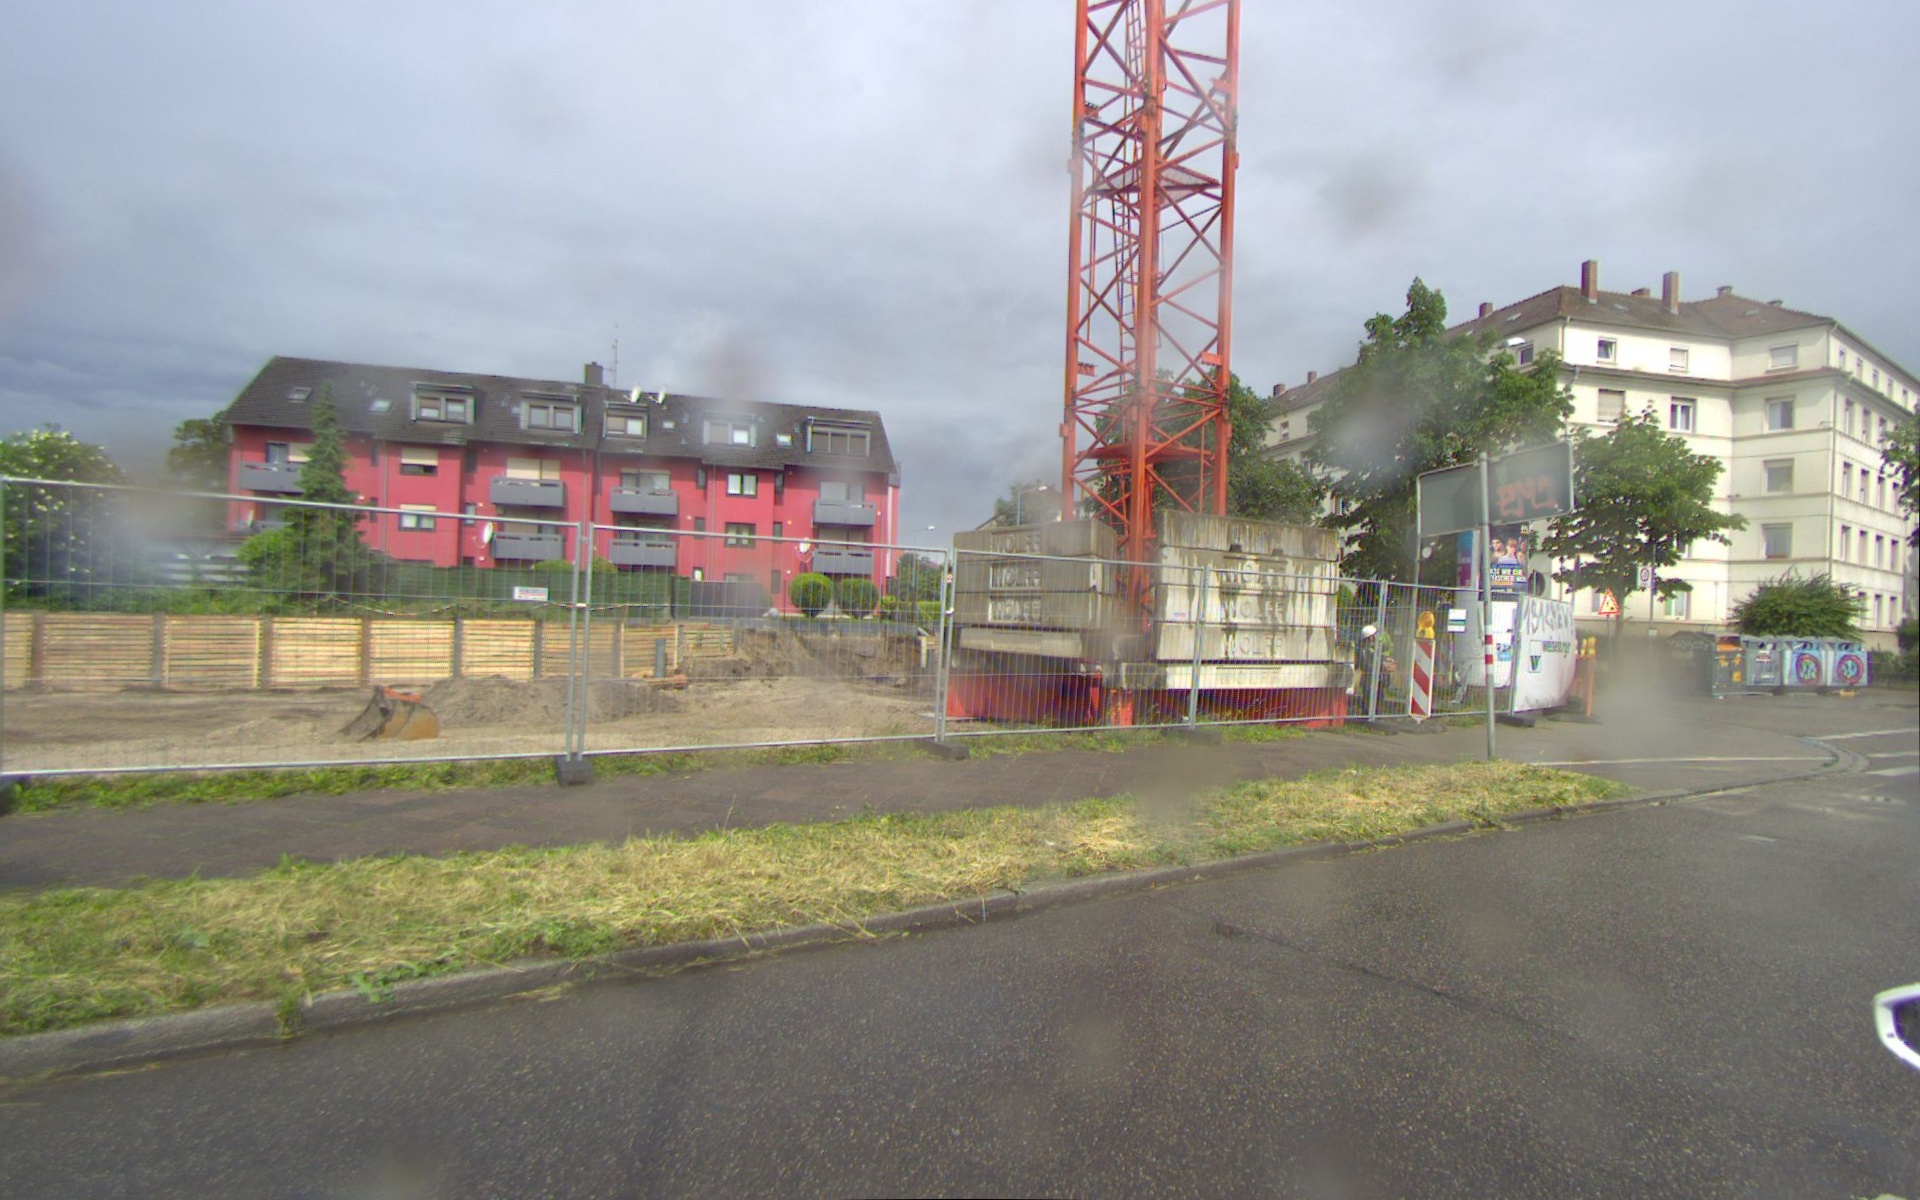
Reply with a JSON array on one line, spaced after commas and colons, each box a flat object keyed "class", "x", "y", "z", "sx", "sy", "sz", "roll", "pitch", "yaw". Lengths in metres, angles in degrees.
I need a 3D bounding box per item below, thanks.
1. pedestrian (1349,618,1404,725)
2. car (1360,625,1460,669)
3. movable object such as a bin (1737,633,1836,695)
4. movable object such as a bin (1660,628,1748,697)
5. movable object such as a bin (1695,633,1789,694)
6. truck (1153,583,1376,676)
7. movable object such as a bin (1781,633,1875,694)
[{"class": "pedestrian", "x": 6.782, "y": 1.139, "z": 16.375, "sx": 0.709, "sy": 1.651, "sz": 0.684, "roll": 4, "pitch": 1, "yaw": 21}, {"class": "car", "x": 17.472, "y": 1.802, "z": 39.145, "sx": 1.639, "sy": 1.606, "sz": 3.494, "roll": 2, "pitch": -2, "yaw": -19}, {"class": "movable object such as a bin", "x": 23.862, "y": 1.830, "z": 29.039, "sx": 1.637, "sy": 1.696, "sz": 1.539, "roll": 1, "pitch": -1, "yaw": -13}, {"class": "movable object such as a bin", "x": 20.820, "y": 1.737, "z": 28.146, "sx": 1.241, "sy": 1.848, "sz": 1.539, "roll": 1, "pitch": -1, "yaw": -13}, {"class": "movable object such as a bin", "x": 22.285, "y": 1.795, "z": 28.665, "sx": 1.501, "sy": 1.678, "sz": 1.539, "roll": 1, "pitch": -1, "yaw": -13}, {"class": "truck", "x": 11.848, "y": 1.163, "z": 40.543, "sx": 3.732, "sy": 3.226, "sz": 9.807, "roll": 2, "pitch": -2, "yaw": -18}, {"class": "movable object such as a bin", "x": 25.387, "y": 1.840, "z": 29.415, "sx": 1.433, "sy": 1.684, "sz": 1.539, "roll": 1, "pitch": -1, "yaw": -13}]
